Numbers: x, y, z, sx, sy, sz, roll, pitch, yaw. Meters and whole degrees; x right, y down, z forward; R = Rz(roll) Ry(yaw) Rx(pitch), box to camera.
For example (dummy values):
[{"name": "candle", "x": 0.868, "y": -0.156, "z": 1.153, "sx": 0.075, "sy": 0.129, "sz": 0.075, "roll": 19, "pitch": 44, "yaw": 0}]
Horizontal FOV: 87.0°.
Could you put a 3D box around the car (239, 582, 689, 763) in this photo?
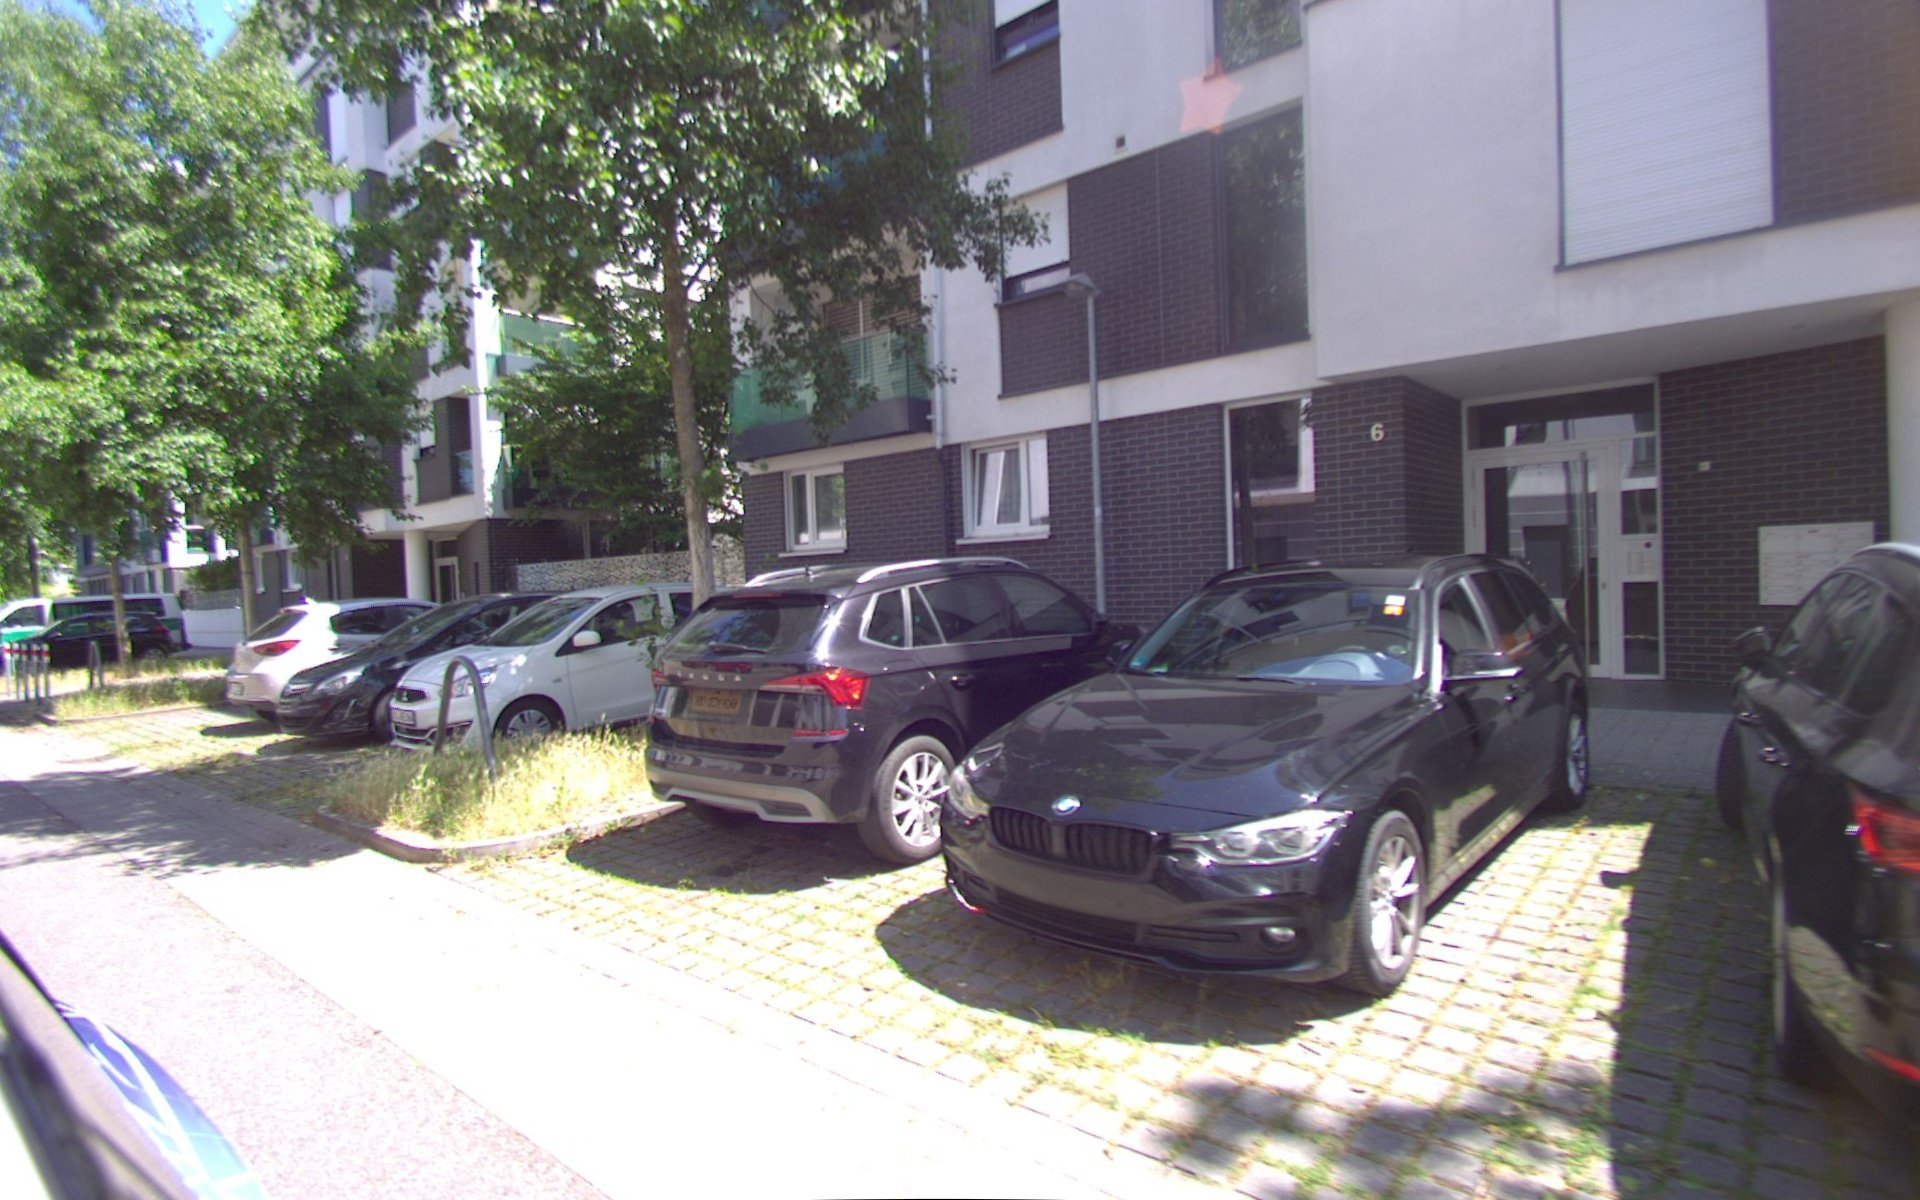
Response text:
[{"name": "car", "x": -5.511, "y": 0.681, "z": 11.734, "sx": 1.791, "sy": 1.486, "sz": 4.274, "roll": -2, "pitch": 2, "yaw": 40}]

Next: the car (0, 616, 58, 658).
[{"name": "car", "x": -41.276, "y": 1.655, "z": 42.325, "sx": 2.039, "sy": 1.644, "sz": 4.981, "roll": -2, "pitch": 1, "yaw": 38}]

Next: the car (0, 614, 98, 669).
[{"name": "car", "x": -32.026, "y": 1.447, "z": 33.799, "sx": 1.962, "sy": 1.605, "sz": 4.520, "roll": -2, "pitch": 3, "yaw": 35}]

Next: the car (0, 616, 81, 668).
[{"name": "car", "x": -33.835, "y": 1.543, "z": 35.730, "sx": 1.949, "sy": 1.641, "sz": 3.938, "roll": -2, "pitch": 3, "yaw": 42}]

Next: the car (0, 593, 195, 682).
[{"name": "car", "x": -24.192, "y": 0.980, "z": 27.326, "sx": 2.187, "sy": 2.126, "sz": 5.285, "roll": -2, "pitch": 1, "yaw": 42}]

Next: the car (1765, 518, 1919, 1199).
[{"name": "car", "x": 3.589, "y": 0.459, "z": 2.935, "sx": 1.772, "sy": 1.456, "sz": 3.939, "roll": -2, "pitch": 2, "yaw": 36}]

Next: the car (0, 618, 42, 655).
[{"name": "car", "x": -43.172, "y": 1.752, "z": 43.817, "sx": 1.825, "sy": 1.459, "sz": 4.774, "roll": -1, "pitch": 4, "yaw": 38}]

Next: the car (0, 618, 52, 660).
[{"name": "car", "x": -39.330, "y": 1.671, "z": 40.414, "sx": 1.819, "sy": 1.542, "sz": 4.213, "roll": -2, "pitch": 2, "yaw": 37}]

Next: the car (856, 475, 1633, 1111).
[{"name": "car", "x": 1.657, "y": 0.410, "z": 4.746, "sx": 1.918, "sy": 1.663, "sz": 3.945, "roll": -2, "pitch": 2, "yaw": 42}]

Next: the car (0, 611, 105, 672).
[{"name": "car", "x": -29.874, "y": 1.342, "z": 32.263, "sx": 1.850, "sy": 1.688, "sz": 3.644, "roll": -2, "pitch": 2, "yaw": 40}]

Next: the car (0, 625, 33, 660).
[{"name": "car", "x": -45.249, "y": 2.044, "z": 45.444, "sx": 1.925, "sy": 1.496, "sz": 5.051, "roll": -1, "pitch": 2, "yaw": 38}]

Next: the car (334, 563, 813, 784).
[{"name": "car", "x": -3.615, "y": 0.544, "z": 10.017, "sx": 1.883, "sy": 1.603, "sz": 3.947, "roll": -2, "pitch": 2, "yaw": 41}]

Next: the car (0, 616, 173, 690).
[{"name": "car", "x": -22.201, "y": 1.279, "z": 25.346, "sx": 1.676, "sy": 1.492, "sz": 3.588, "roll": -2, "pitch": 2, "yaw": 39}]

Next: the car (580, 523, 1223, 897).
[{"name": "car", "x": -0.096, "y": 0.393, "z": 6.584, "sx": 1.932, "sy": 1.641, "sz": 3.947, "roll": -2, "pitch": 2, "yaw": 40}]

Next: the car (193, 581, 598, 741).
[{"name": "car", "x": -7.283, "y": 0.666, "z": 13.426, "sx": 1.923, "sy": 1.528, "sz": 4.211, "roll": -2, "pitch": 3, "yaw": 40}]
